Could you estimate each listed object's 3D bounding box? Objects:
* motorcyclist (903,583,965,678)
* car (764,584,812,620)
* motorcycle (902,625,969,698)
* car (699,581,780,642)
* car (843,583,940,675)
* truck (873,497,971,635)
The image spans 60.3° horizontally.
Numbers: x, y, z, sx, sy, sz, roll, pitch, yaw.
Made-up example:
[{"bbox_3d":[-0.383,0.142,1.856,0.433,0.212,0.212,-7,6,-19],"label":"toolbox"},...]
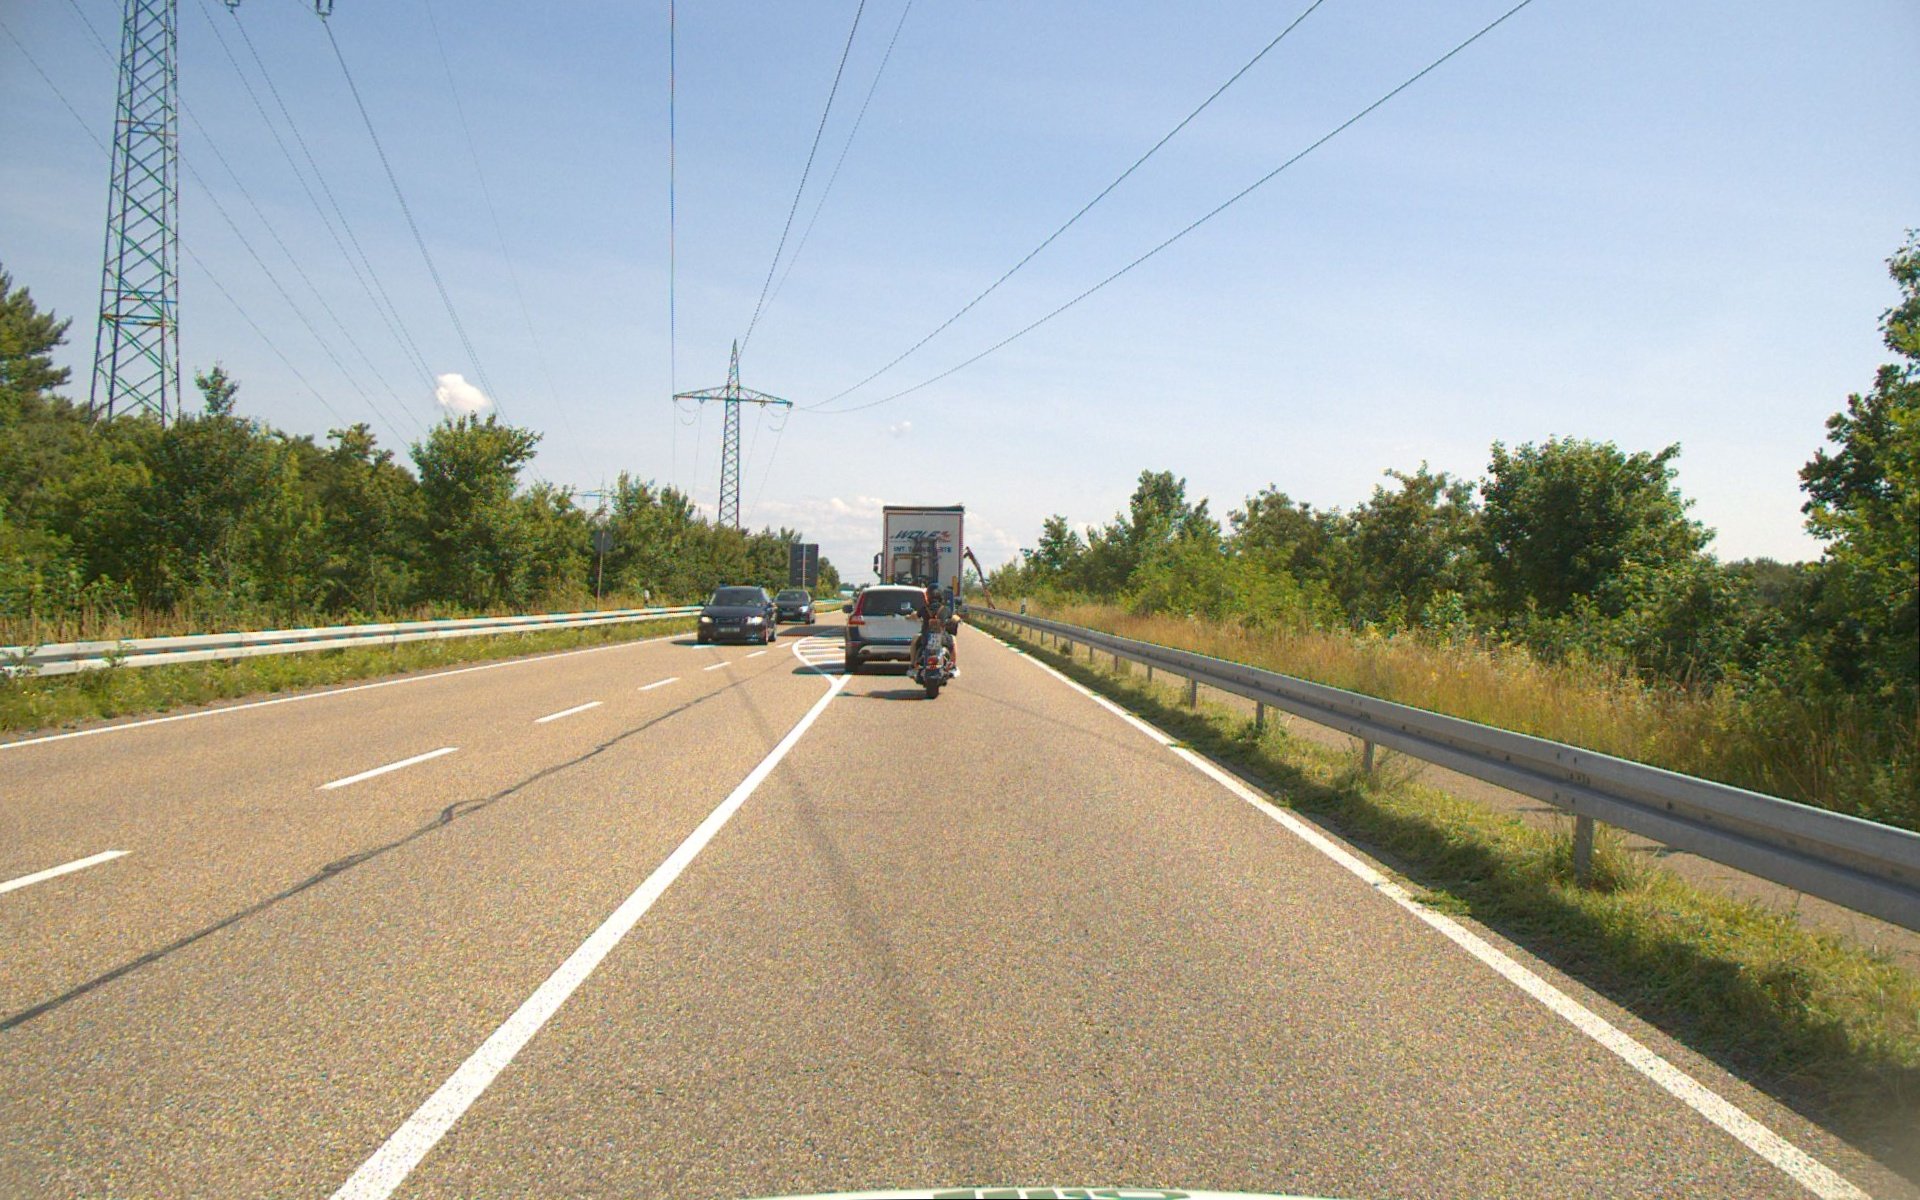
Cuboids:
[{"bbox_3d":[-0.371,0.422,23.326,0.820,1.303,0.918,1,0,-4],"label":"motorcyclist"},{"bbox_3d":[-7.174,0.060,69.206,1.626,1.467,4.213,1,0,-1],"label":"car"},{"bbox_3d":[-0.366,0.839,23.207,0.842,0.931,2.226,0,0,-4],"label":"motorcycle"},{"bbox_3d":[-5.834,0.274,44.259,1.692,1.517,4.421,1,0,-2],"label":"car"},{"bbox_3d":[-1.234,0.492,30.506,1.666,1.563,3.498,1,0,-1],"label":"car"},{"bbox_3d":[-1.576,-1.117,58.932,2.909,4.260,14.811,1,0,-3],"label":"truck"}]
